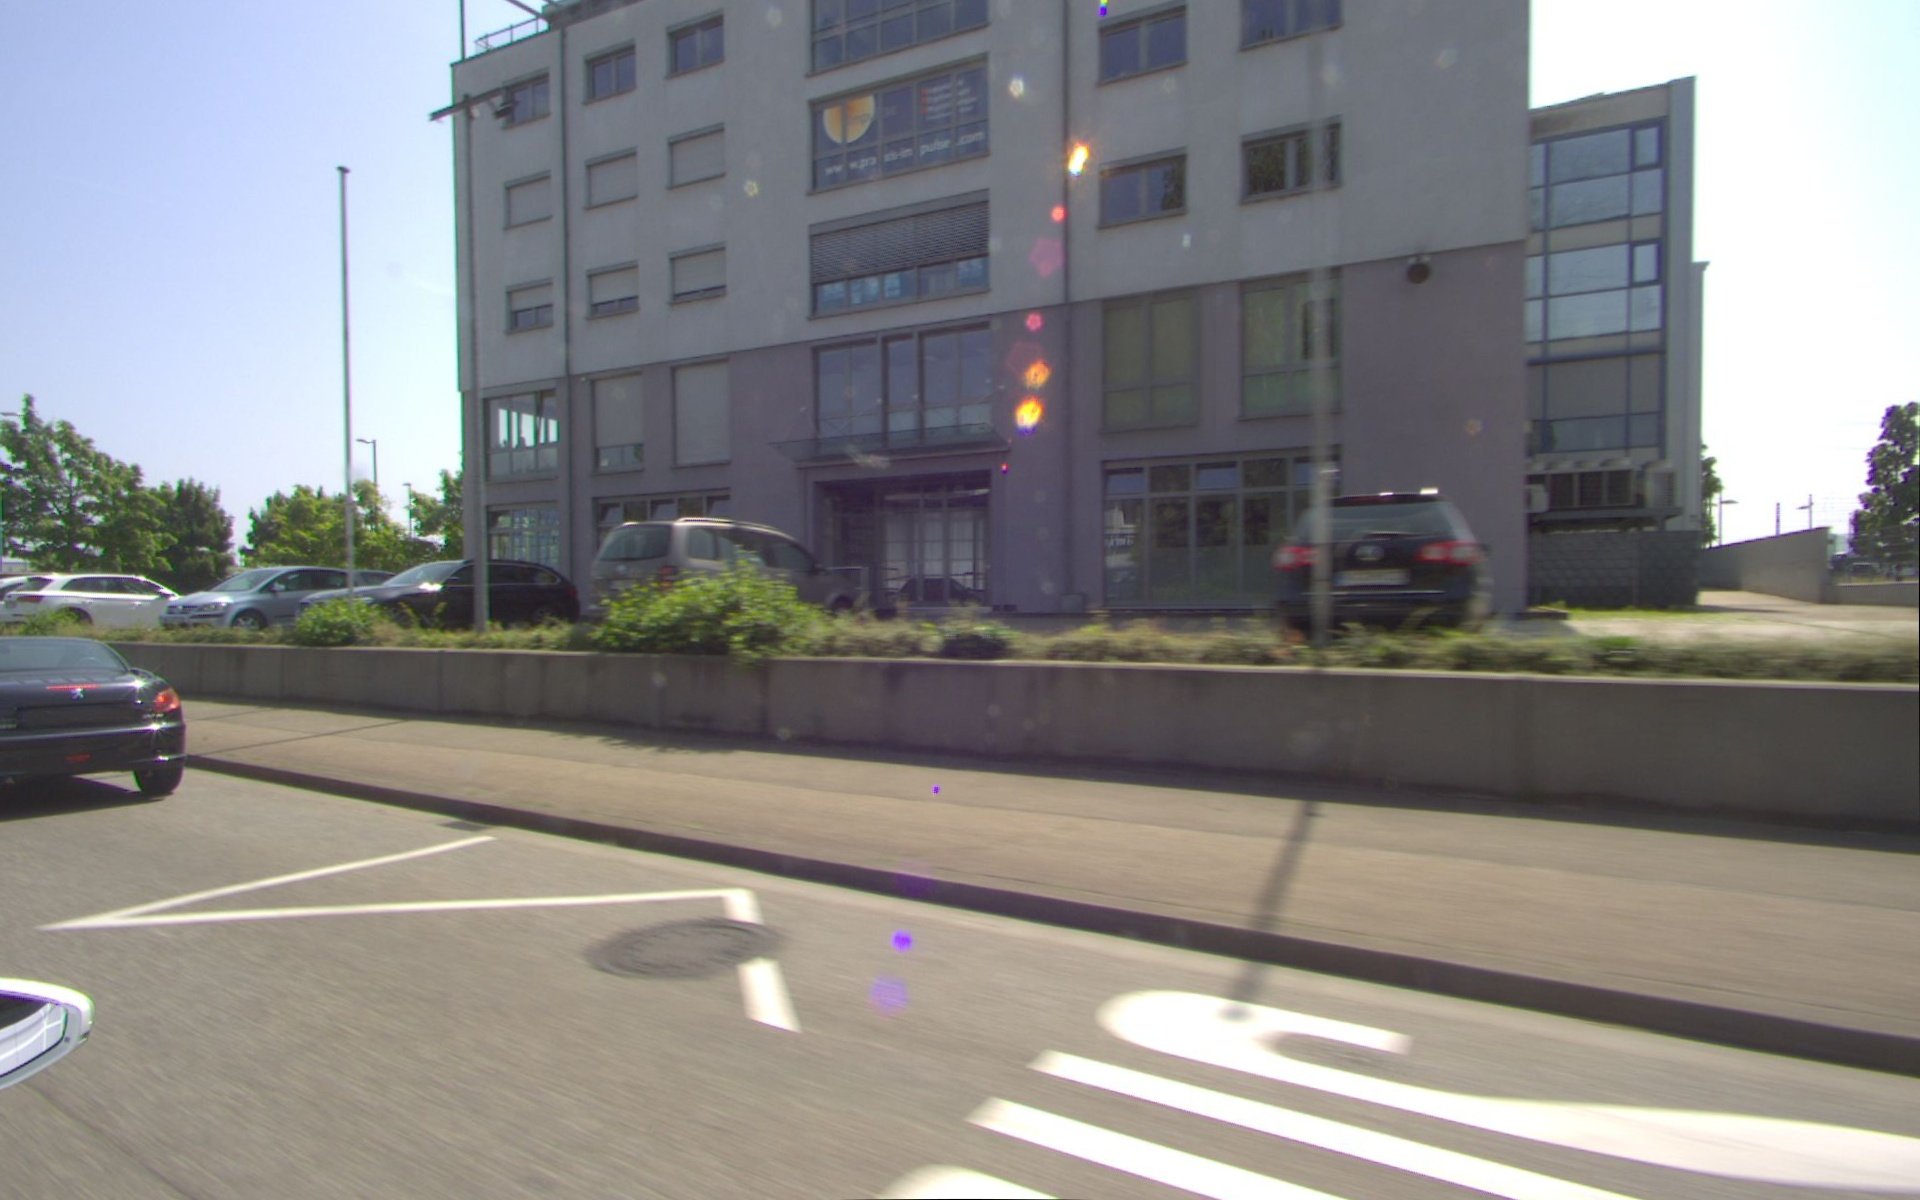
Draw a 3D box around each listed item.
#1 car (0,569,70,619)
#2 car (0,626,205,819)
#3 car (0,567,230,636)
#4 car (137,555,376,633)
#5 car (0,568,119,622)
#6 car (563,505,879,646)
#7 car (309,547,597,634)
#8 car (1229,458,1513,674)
[{"bbox_3d":[-30.891,-0.172,31.426,1.970,1.565,3.981,0,1,30],"label":"car"},{"bbox_3d":[-8.411,0.953,8.860,3.553,1.382,1.624,0,-1,33],"label":"car"},{"bbox_3d":[-21.569,0.006,25.378,1.971,1.565,4.526,0,1,31],"label":"car"},{"bbox_3d":[-14.625,-0.131,21.107,1.732,1.472,3.929,-1,1,14],"label":"car"},{"bbox_3d":[-28.426,-0.149,30.135,1.970,1.565,4.340,0,1,30],"label":"car"},{"bbox_3d":[-3.185,-0.320,14.200,1.971,1.669,4.219,0,1,31],"label":"car"},{"bbox_3d":[-9.050,-0.179,18.273,1.970,1.387,4.313,0,1,30],"label":"car"},{"bbox_3d":[4.260,-0.277,9.872,1.971,1.604,4.490,0,1,31],"label":"car"}]
